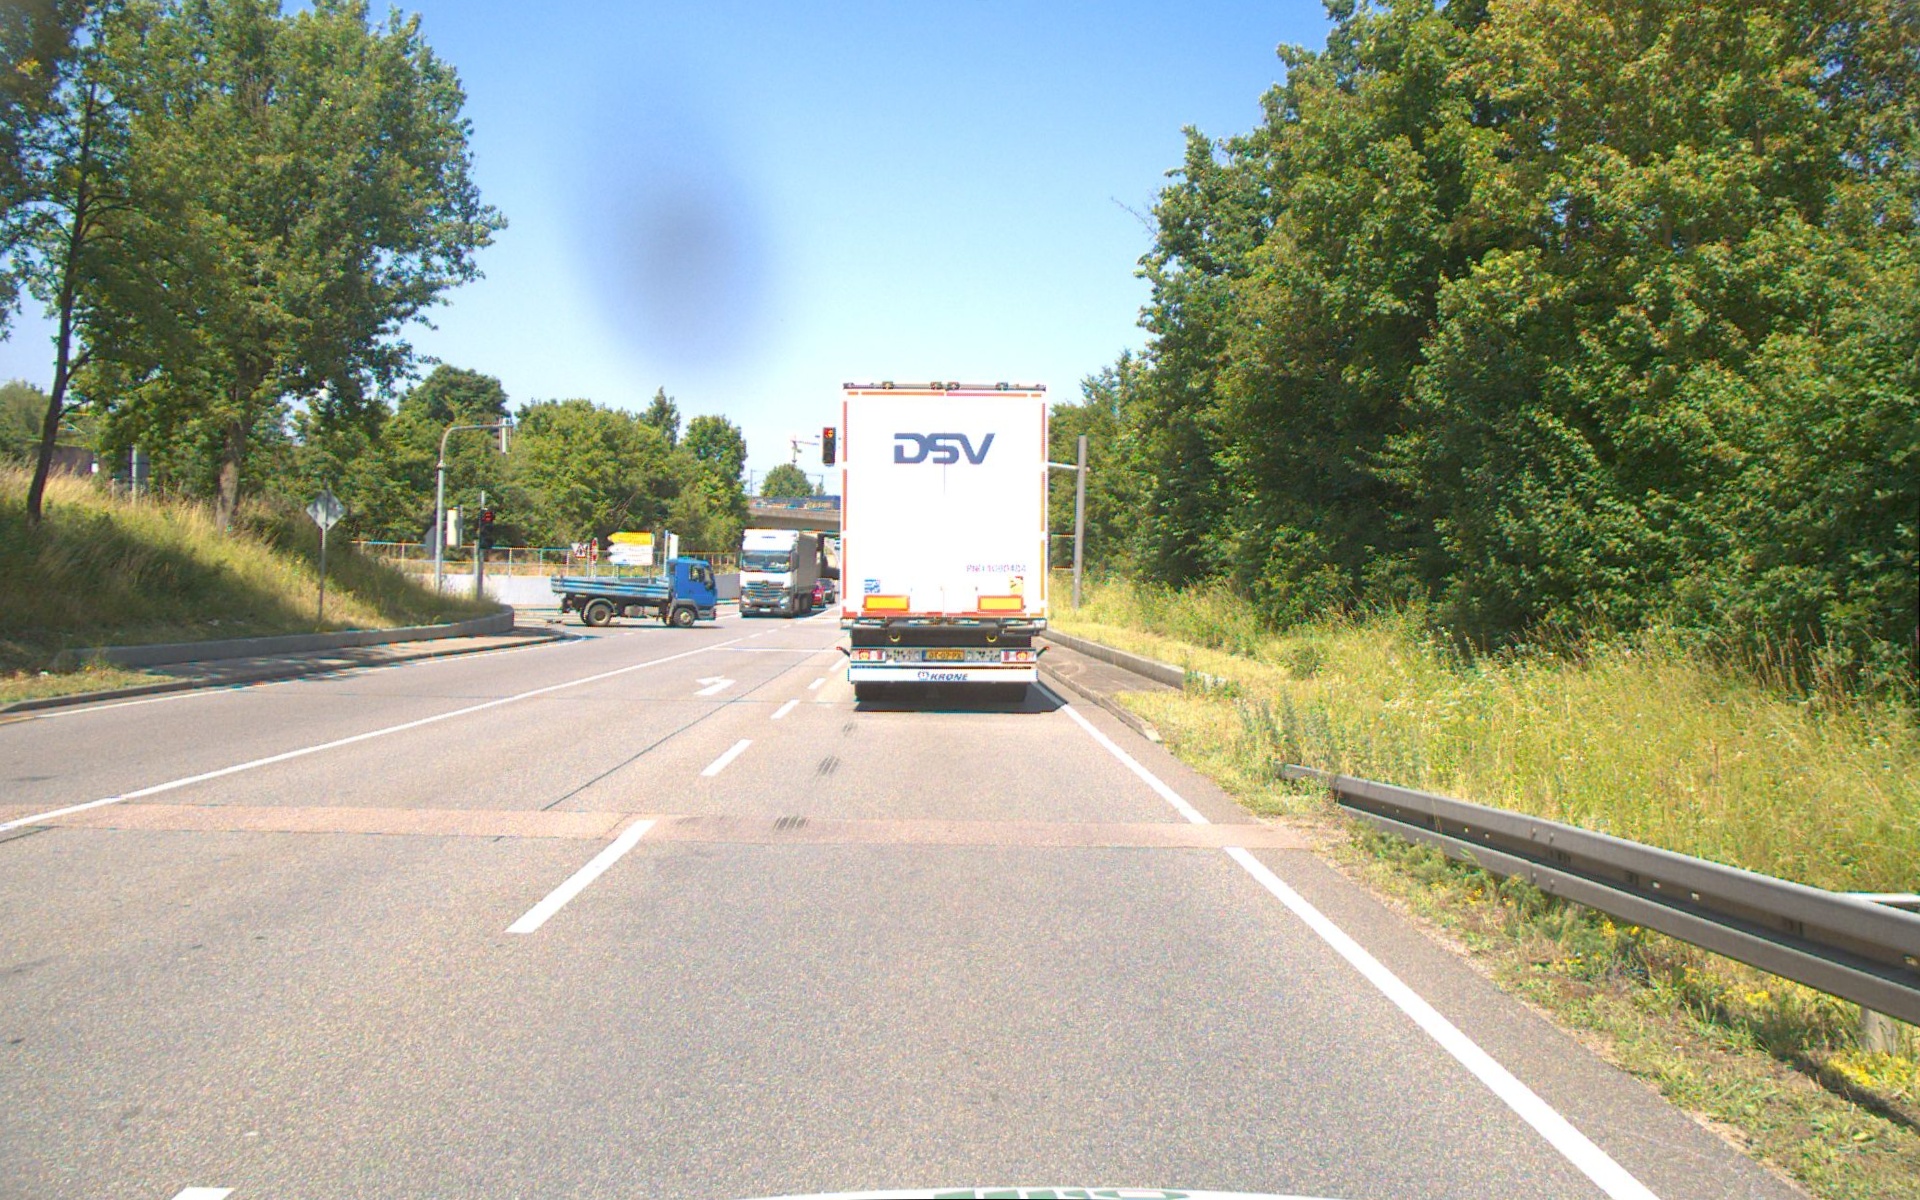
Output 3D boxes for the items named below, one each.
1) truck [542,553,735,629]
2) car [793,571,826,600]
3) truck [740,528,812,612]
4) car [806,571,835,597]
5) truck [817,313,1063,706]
[{"bbox_3d":[-11.475,-0.311,59.116,6.326,2.543,2.695,1,0,-24],"label":"truck"},{"bbox_3d":[-8.996,-0.887,99.052,1.711,1.654,3.702,1,1,-1],"label":"car"},{"bbox_3d":[-8.957,-1.459,81.748,2.305,3.815,12.623,1,1,-1],"label":"truck"},{"bbox_3d":[-9.447,-1.099,112.444,1.711,1.654,3.702,1,1,-1],"label":"car"},{"bbox_3d":[-0.207,-1.117,24.687,2.889,4.648,9.863,1,0,0],"label":"truck"}]
